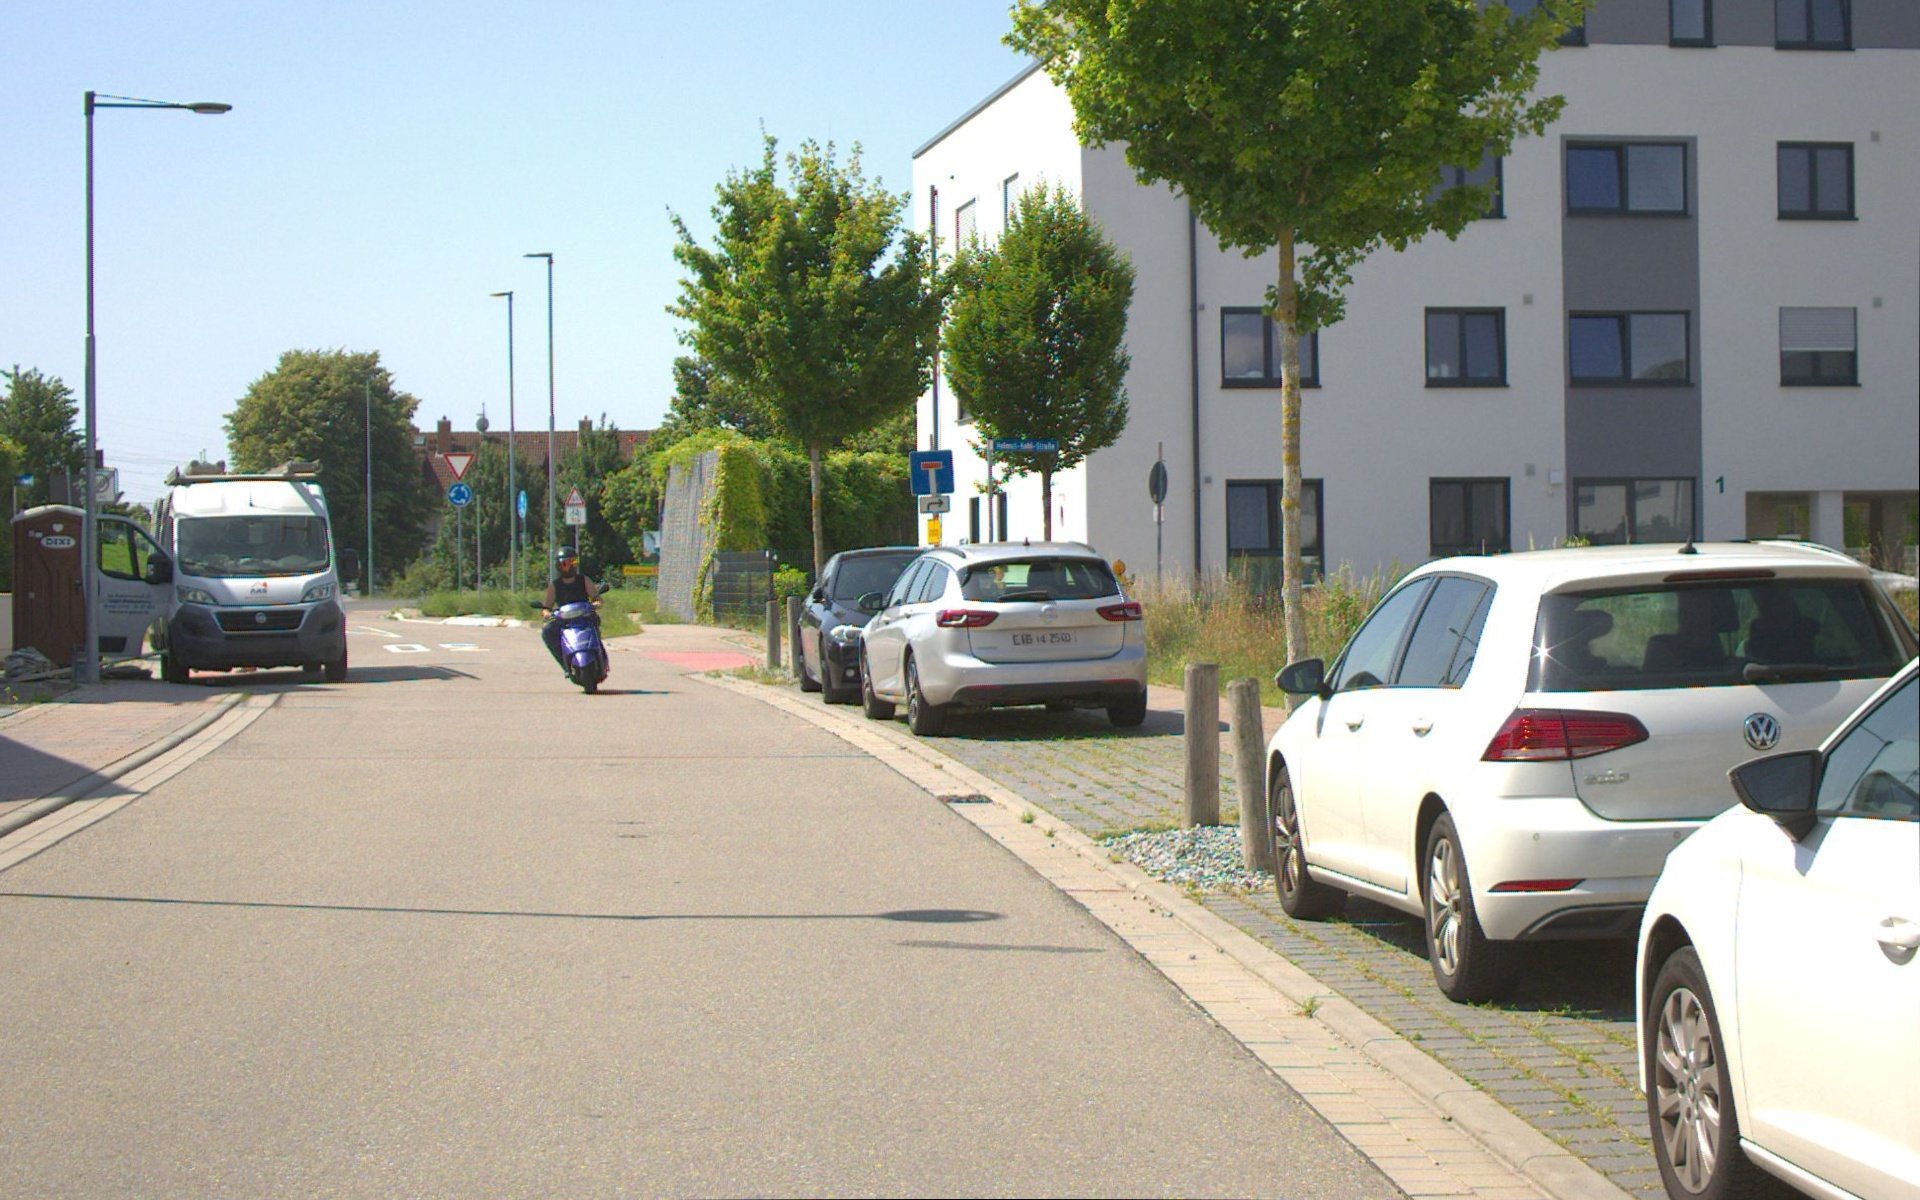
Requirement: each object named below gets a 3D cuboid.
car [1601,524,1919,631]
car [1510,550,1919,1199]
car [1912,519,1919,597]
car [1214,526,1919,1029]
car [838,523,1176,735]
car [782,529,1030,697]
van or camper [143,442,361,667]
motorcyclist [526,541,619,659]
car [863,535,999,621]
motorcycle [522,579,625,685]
[{"bbox_3d":[11.522,-0.322,49.269,4.157,1.431,1.883,-1,0,-10],"label":"car"},{"bbox_3d":[2.444,0.641,6.264,1.814,1.451,4.565,-2,1,-4],"label":"car"},{"bbox_3d":[19.717,-0.837,65.096,1.876,1.497,3.680,-1,0,-9],"label":"car"},{"bbox_3d":[2.215,0.482,12.592,1.779,1.421,4.515,-2,2,-5],"label":"car"},{"bbox_3d":[0.265,0.155,28.470,1.918,1.506,5.296,-2,2,-8],"label":"car"},{"bbox_3d":[-0.629,0.064,34.475,1.918,1.464,5.141,-2,2,-7],"label":"car"},{"bbox_3d":[-8.847,-0.535,42.523,2.272,2.544,6.369,-1,0,-15],"label":"van or camper"},{"bbox_3d":[-4.156,-0.010,36.803,0.924,1.218,0.804,-1,2,-9],"label":"motorcyclist"},{"bbox_3d":[-0.547,-0.416,61.145,1.677,1.464,4.118,0,1,-11],"label":"car"},{"bbox_3d":[-4.177,0.326,36.966,0.955,1.031,2.437,-1,2,-9],"label":"motorcycle"}]
